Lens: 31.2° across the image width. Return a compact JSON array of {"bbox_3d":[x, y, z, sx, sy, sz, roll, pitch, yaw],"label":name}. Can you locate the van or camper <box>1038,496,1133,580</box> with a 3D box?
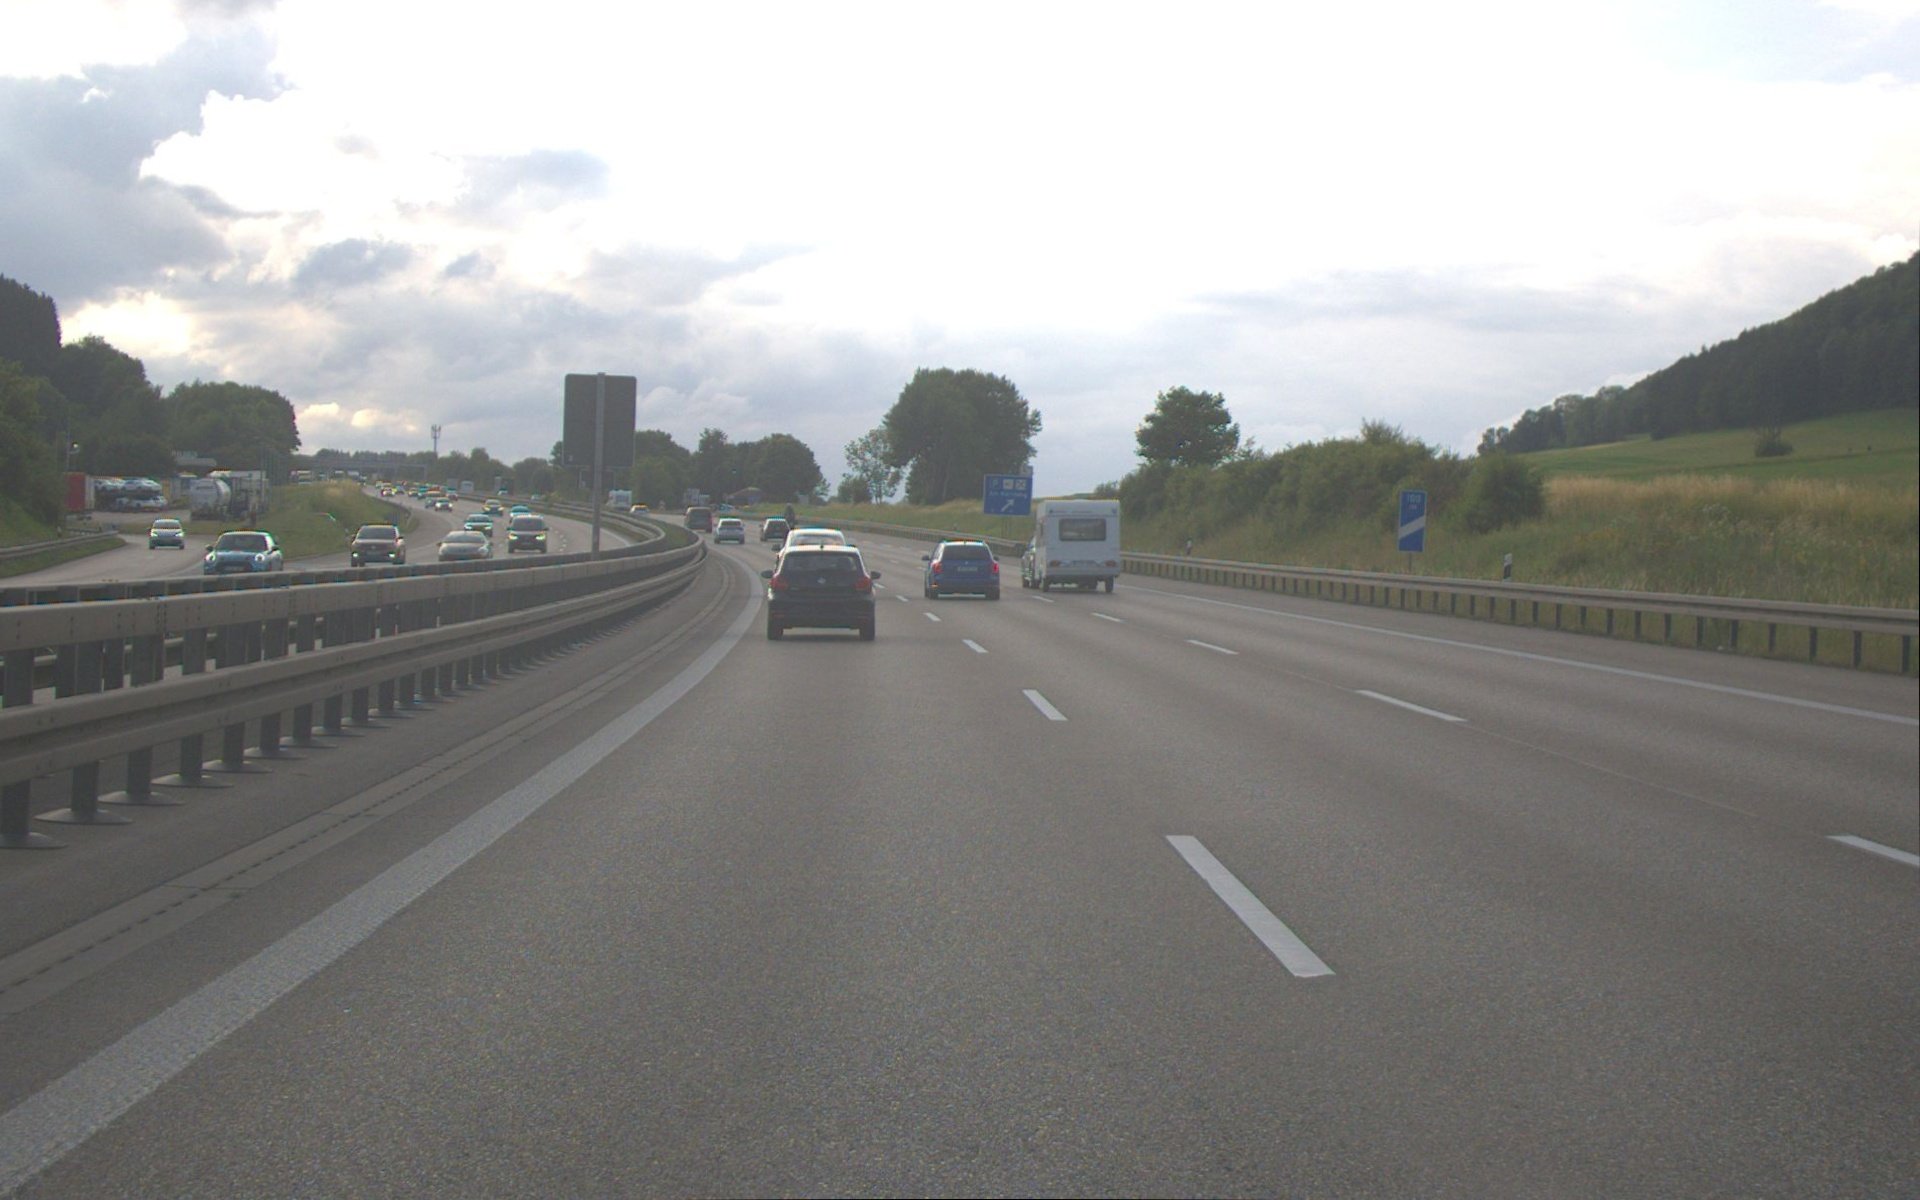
[{"bbox_3d":[3.447,-1.705,95.496,2.548,2.232,5.329,1,1,1],"label":"van or camper"}]

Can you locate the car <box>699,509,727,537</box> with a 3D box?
[{"bbox_3d":[-18.504,-5.745,257.333,1.993,2.007,4.001,0,1,-5],"label":"car"}]

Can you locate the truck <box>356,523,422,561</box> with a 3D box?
[{"bbox_3d":[-21.339,-2.184,128.598,1.993,1.349,3.947,-1,1,-3],"label":"truck"}]

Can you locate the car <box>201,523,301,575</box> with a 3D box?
[{"bbox_3d":[-18.993,-1.387,92.251,1.993,1.349,4.356,0,1,-3],"label":"car"}]

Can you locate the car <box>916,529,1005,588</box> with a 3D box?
[{"bbox_3d":[-0.015,-1.043,85.786,1.766,1.428,4.001,0,1,-6],"label":"car"}]

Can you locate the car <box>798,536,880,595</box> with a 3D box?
[{"bbox_3d":[-2.951,-0.843,83.143,1.565,1.375,4.001,0,1,-8],"label":"car"}]

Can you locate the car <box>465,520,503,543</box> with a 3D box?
[{"bbox_3d":[-31.533,-4.519,227.683,1.993,1.481,4.000,0,1,0],"label":"car"}]

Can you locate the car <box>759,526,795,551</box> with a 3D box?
[{"bbox_3d":[-11.902,-4.007,223.716,1.957,1.568,4.000,1,0,2],"label":"car"}]

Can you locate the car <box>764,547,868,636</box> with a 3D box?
[{"bbox_3d":[-2.280,-0.148,53.761,1.538,1.343,3.677,0,1,-3],"label":"car"}]

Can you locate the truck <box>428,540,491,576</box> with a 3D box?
[{"bbox_3d":[-17.540,-1.488,120.594,1.993,1.218,4.001,-1,1,-6],"label":"truck"}]

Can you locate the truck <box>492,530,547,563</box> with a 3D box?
[{"bbox_3d":[-21.740,-2.641,169.464,1.993,1.589,4.848,-1,1,-15],"label":"truck"}]
